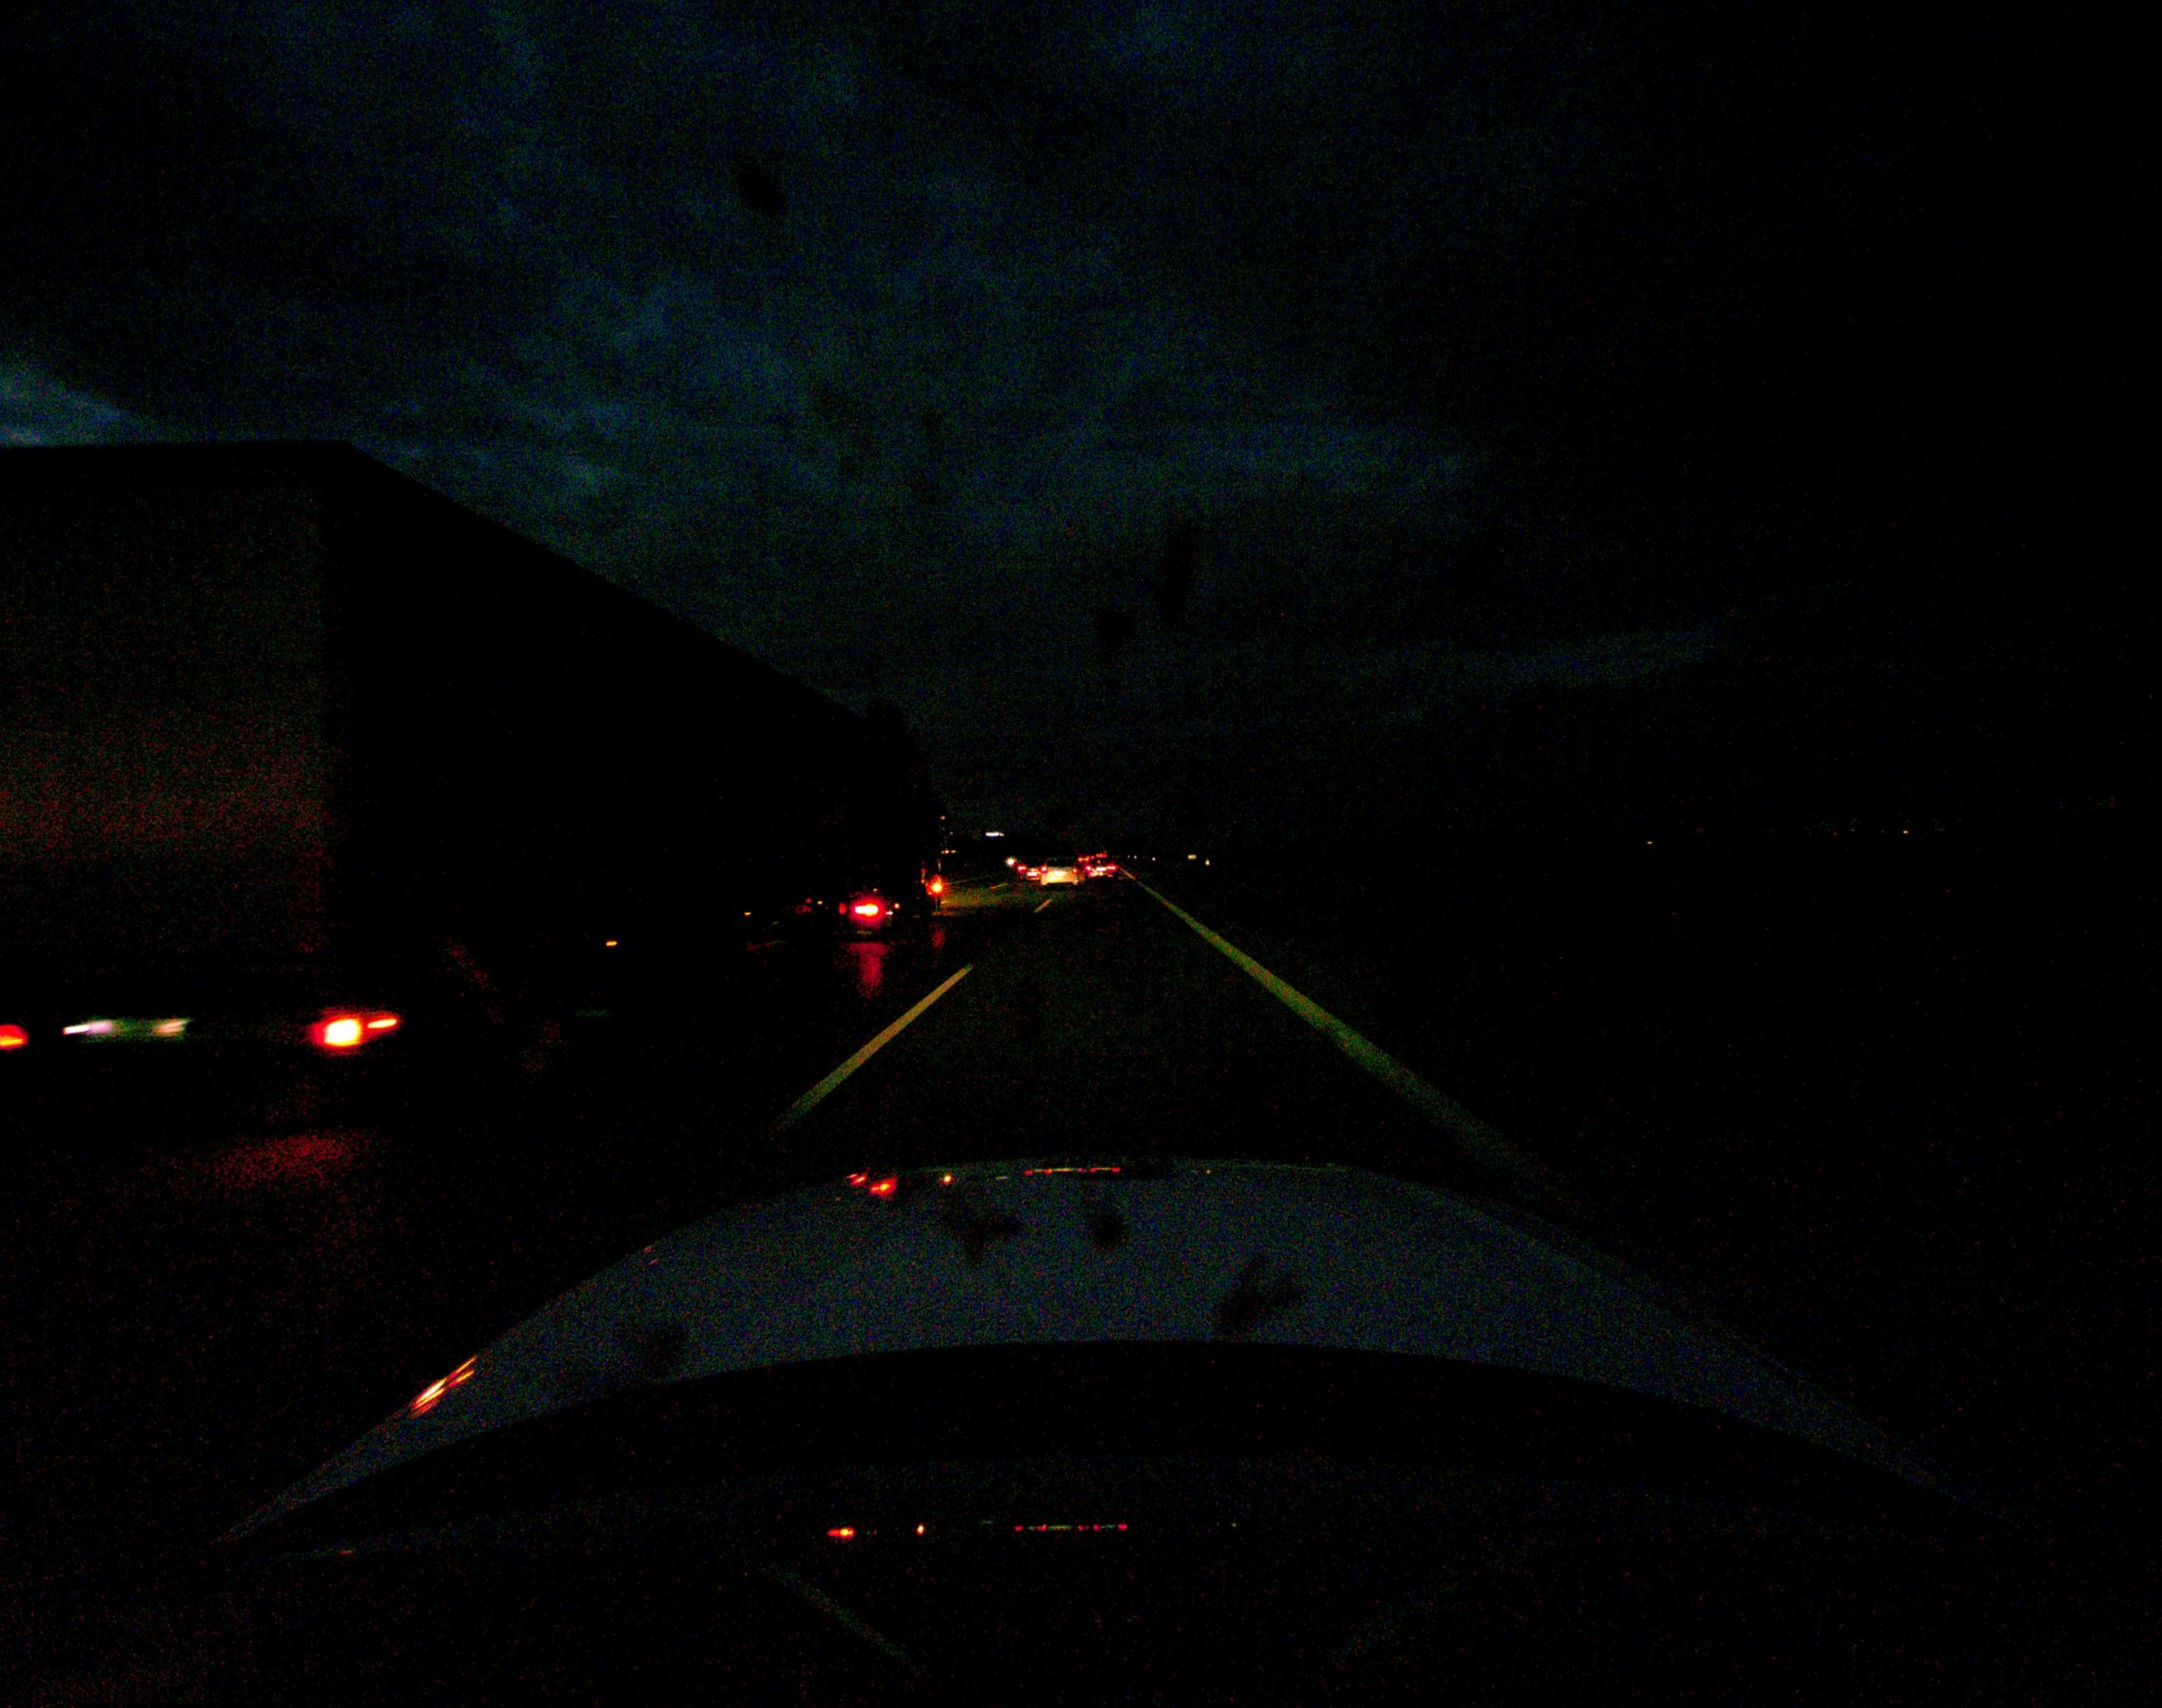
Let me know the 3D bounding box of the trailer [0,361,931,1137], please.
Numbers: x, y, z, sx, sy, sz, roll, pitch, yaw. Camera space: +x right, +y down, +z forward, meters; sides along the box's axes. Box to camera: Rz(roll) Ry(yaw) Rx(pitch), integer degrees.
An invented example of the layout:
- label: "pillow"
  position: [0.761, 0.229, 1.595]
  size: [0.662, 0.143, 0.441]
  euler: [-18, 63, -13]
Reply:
- label: "trailer"
  position: [-5.219, -0.469, 11.595]
  size: [2.783, 4.085, 14.533]
  euler: [-1, -1, 2]

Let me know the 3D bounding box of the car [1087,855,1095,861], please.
- label: "car"
  position: [2.967, 1.172, 236.128]
  size: [2.191, 1.879, 4.001]
  euler: [0, -1, 1]

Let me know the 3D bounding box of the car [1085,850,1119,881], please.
- label: "car"
  position: [1.194, 0.647, 46.219]
  size: [1.873, 1.643, 4.001]
  euler: [0, -1, 1]

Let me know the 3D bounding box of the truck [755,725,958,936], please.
- label: "truck"
  position: [-4.897, -0.422, 19.109]
  size: [2.767, 4.093, 6.106]
  euler: [-1, -1, 2]

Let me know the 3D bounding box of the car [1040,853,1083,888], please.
- label: "car"
  position: [-0.830, 0.762, 37.841]
  size: [1.737, 1.525, 4.416]
  euler: [0, -1, 2]

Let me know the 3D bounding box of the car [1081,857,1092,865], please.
- label: "car"
  position: [1.056, 1.348, 153.832]
  size: [1.874, 1.552, 4.000]
  euler: [0, -1, 1]

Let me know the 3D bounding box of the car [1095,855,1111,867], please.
- label: "car"
  position: [2.774, 0.888, 103.198]
  size: [1.874, 1.552, 4.000]
  euler: [0, -1, 1]

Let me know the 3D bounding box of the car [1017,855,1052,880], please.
- label: "car"
  position: [-2.785, 0.824, 49.539]
  size: [1.716, 1.471, 4.727]
  euler: [0, -1, 1]
